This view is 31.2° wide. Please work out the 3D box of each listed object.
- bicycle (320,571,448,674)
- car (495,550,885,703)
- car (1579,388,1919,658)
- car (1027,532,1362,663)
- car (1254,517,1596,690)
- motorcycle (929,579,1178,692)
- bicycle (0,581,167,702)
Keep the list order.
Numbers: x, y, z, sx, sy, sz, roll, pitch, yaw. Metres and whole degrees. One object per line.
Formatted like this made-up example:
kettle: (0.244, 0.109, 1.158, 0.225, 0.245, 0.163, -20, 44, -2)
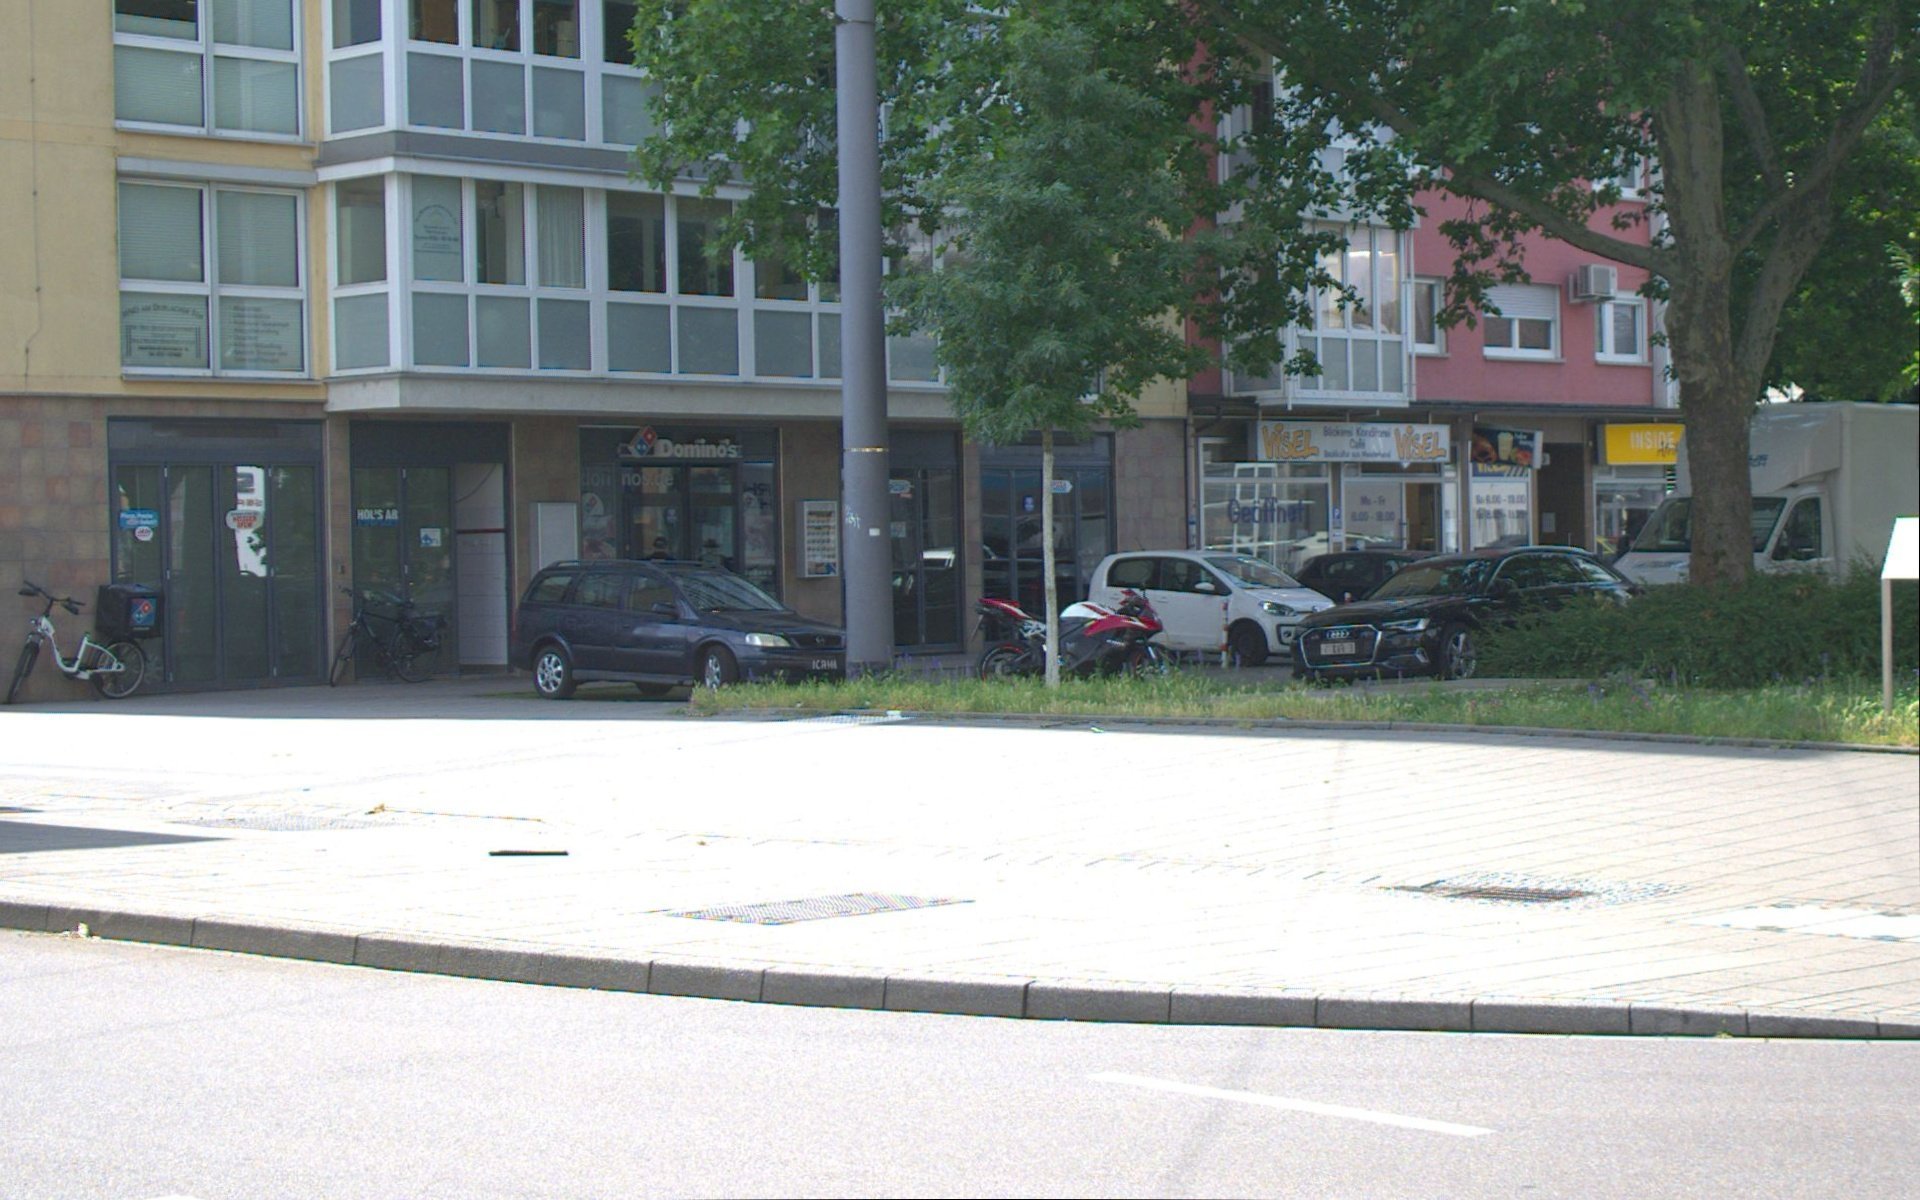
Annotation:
bicycle: (-6.639, 0.253, 39.668, 1.343, 1.125, 0.594, -2, 3, -43)
car: (-2.916, 0.250, 36.609, 4.092, 1.509, 1.805, 0, 2, 42)
car: (10.452, -0.954, 41.970, 1.999, 3.032, 7.230, 0, 1, 44)
car: (3.012, -0.071, 44.687, 4.092, 1.509, 1.805, 3, 3, 42)
car: (5.051, -0.008, 36.951, 1.997, 1.700, 3.992, 0, 2, 35)
motorcycle: (0.876, 0.327, 32.115, 2.287, 1.027, 0.975, 0, 0, 2)
bicycle: (-9.510, 0.428, 36.616, 0.477, 1.198, 2.191, 3, 3, 43)
